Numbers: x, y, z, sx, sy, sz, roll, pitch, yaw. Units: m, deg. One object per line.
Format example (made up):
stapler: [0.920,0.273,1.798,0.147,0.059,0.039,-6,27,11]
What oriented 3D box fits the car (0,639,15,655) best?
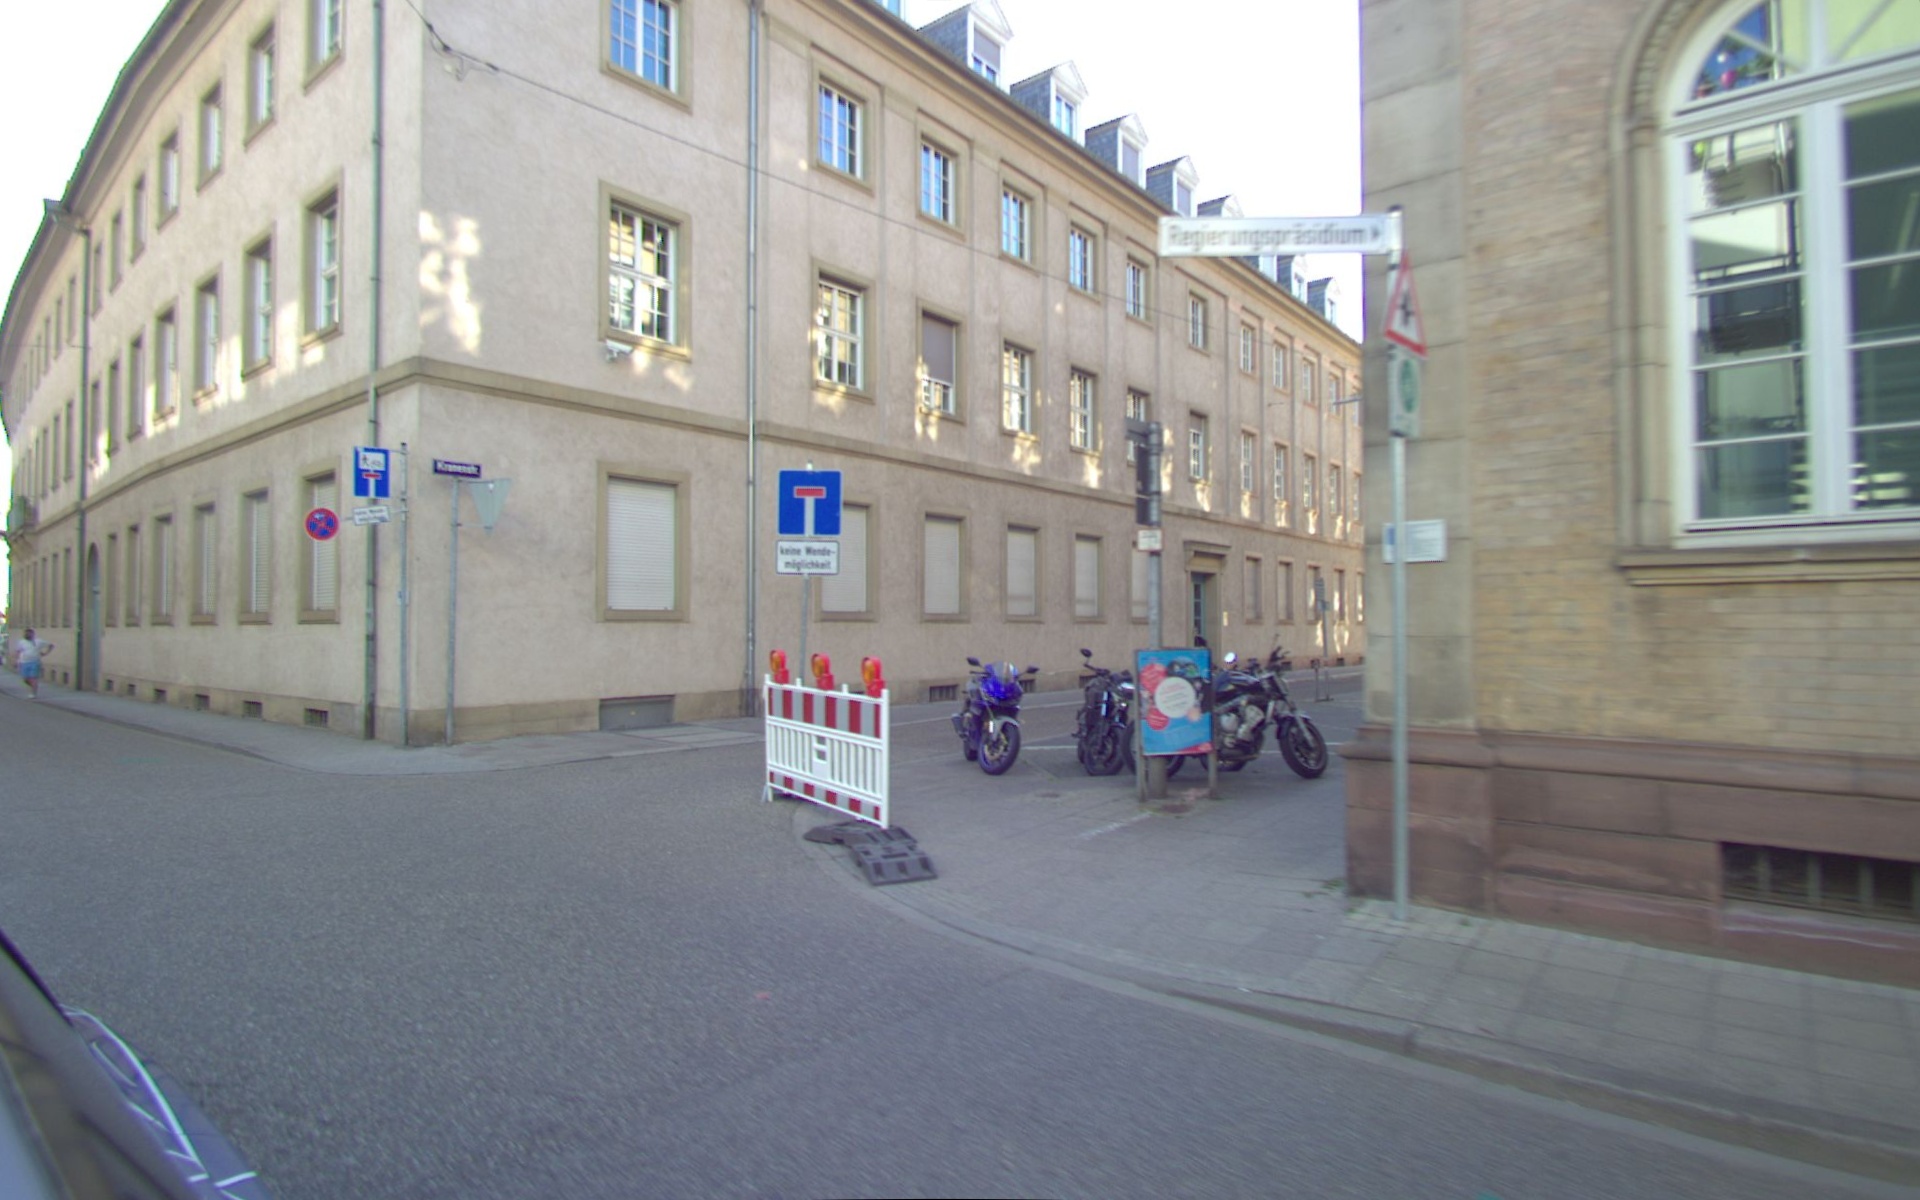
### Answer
car: [-92.238,4.535,96.784,1.933,1.418,4.209,-2,-1,-31]

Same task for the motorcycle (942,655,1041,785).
motorcycle: [0.285,1.215,10.912,0.578,1.182,2.287,-3,-2,-9]

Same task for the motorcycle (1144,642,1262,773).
motorcycle: [2.592,1.104,11.061,0.579,1.284,2.130,-1,-2,-5]

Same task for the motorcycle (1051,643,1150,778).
motorcycle: [1.468,1.167,10.997,0.579,1.304,2.202,-1,-5,-4]

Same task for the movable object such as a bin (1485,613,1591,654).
movable object such as a bin: [32.006,1.845,56.048,4.469,2.186,3.057,-2,-3,43]

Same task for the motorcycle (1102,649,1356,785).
motorcycle: [2.483,1.069,9.488,2.168,1.182,0.660,-1,-2,-3]

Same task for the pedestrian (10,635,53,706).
pedestrian: [-22.981,1.731,25.044,0.875,1.682,0.685,-2,0,43]
